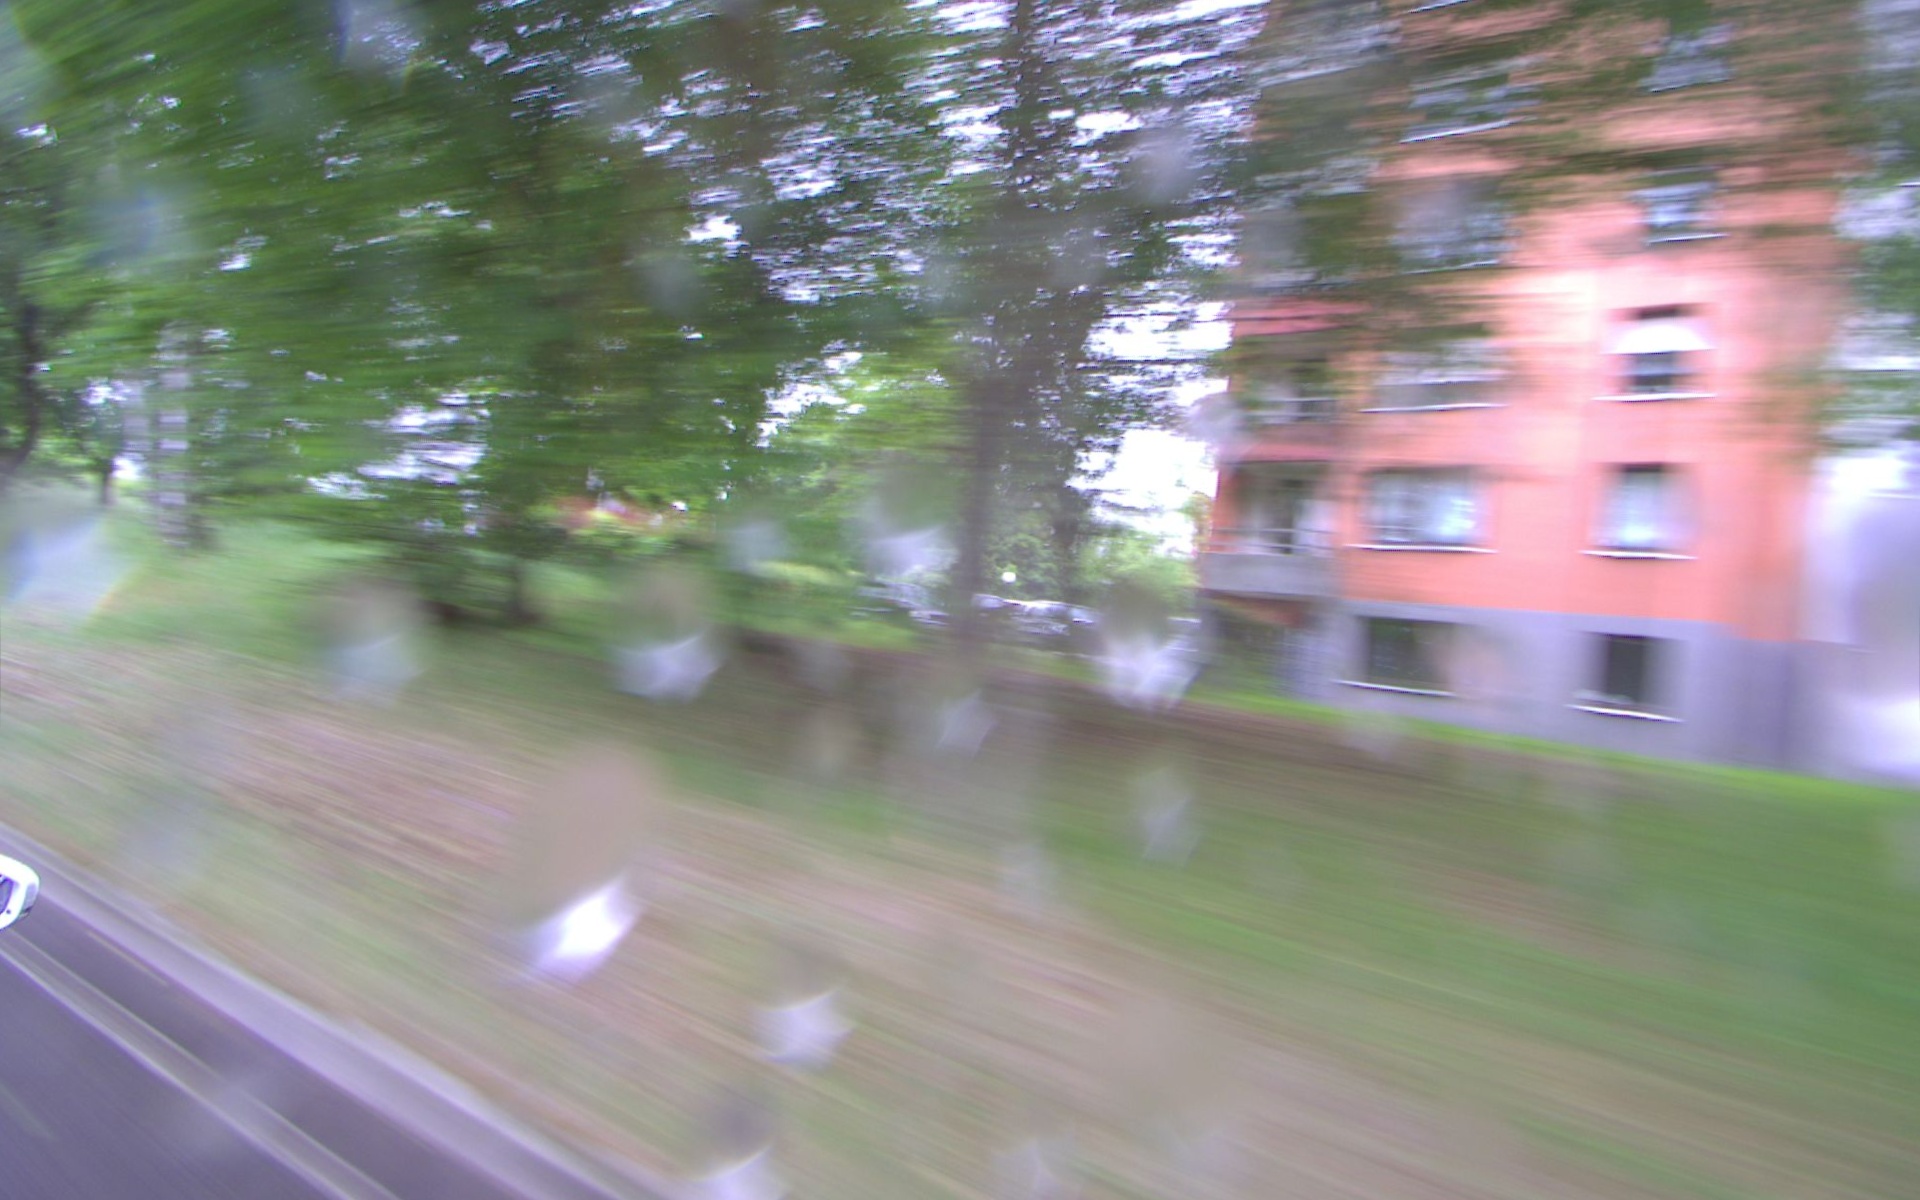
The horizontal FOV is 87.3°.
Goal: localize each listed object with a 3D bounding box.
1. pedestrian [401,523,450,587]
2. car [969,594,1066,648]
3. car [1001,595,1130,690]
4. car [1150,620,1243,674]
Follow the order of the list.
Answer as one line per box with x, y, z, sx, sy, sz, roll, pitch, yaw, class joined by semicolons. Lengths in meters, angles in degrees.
-11.641;-0.972;21.912;0.615;1.300;0.654;7;1;35;pedestrian
2.264;0.839;38.400;1.817;1.545;3.993;7;-1;33;car
2.780;1.151;25.852;1.593;2.037;3.735;8;-1;32;car
8.195;1.647;34.641;1.723;1.410;3.992;7;-1;34;car
